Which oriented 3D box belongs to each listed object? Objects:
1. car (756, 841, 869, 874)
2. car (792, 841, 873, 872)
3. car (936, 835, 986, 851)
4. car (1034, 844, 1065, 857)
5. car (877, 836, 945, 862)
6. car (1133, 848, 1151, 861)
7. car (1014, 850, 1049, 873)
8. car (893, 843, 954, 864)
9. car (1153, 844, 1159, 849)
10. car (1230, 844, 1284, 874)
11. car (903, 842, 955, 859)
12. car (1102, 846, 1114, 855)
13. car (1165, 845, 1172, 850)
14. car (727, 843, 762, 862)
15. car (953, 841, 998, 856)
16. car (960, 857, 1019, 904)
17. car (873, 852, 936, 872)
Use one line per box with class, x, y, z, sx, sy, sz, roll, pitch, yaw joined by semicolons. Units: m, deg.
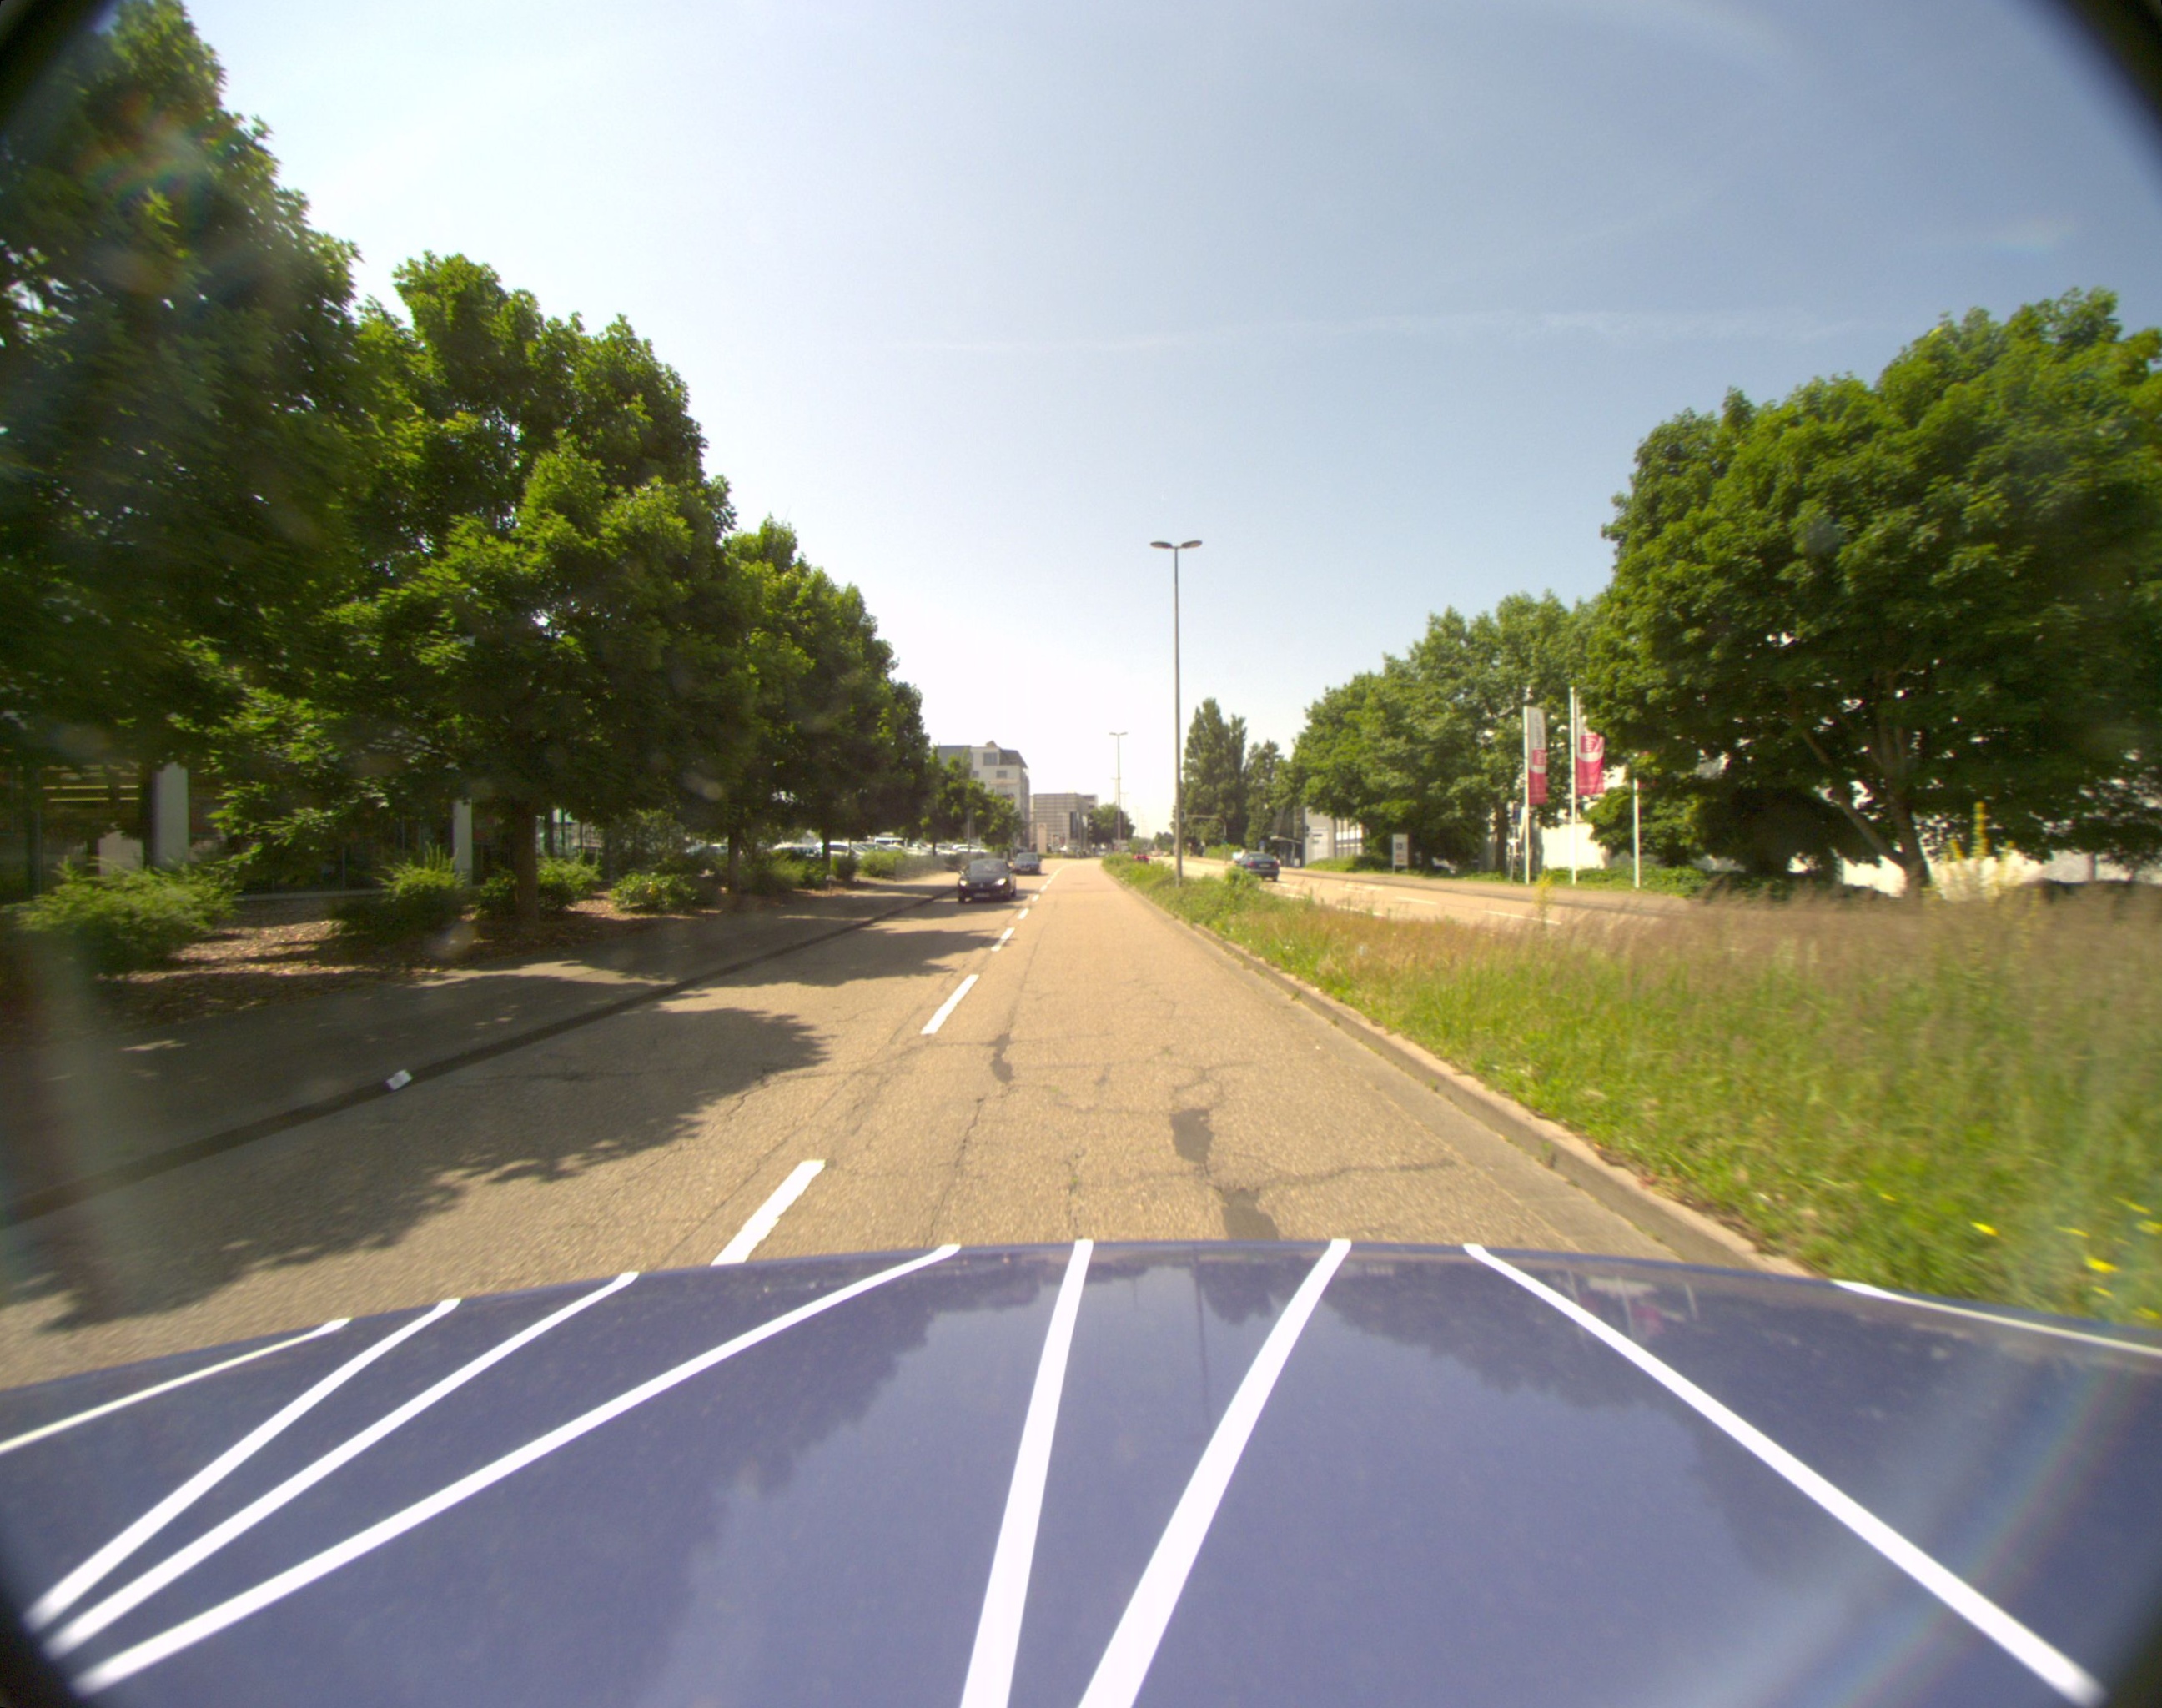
car;-13.549;0.155;38.597;5.004;1.587;2.022;1;1;-1
car;-14.175;0.141;43.500;3.998;1.587;1.826;-2;1;-2
car;-11.016;-0.977;69.921;4.179;1.413;1.698;0;1;4
car;-5.187;-0.579;125.118;4.704;1.787;2.184;-3;0;6
car;-12.723;-0.404;57.057;4.627;1.913;1.827;0;1;2
car;6.648;0.070;83.269;1.733;1.316;4.149;1;1;1
car;-3.079;0.431;47.942;1.711;1.316;3.956;1;1;4
car;-12.332;-0.052;59.701;4.377;1.583;1.827;0;1;2
car;25.261;-2.534;254.880;1.763;1.410;4.092;1;0;2
car;8.892;0.238;38.666;1.726;1.408;4.246;2;0;0
car;-12.796;-0.300;64.214;4.006;1.413;1.698;0;1;1
car;4.281;-0.539;120.466;1.867;1.390;4.000;0;0;2
car;28.765;-2.246;250.235;1.898;1.551;4.287;1;1;3
car;-26.056;-0.163;58.916;1.268;1.412;3.252;1;1;0
car;-11.268;-0.585;81.646;4.587;1.496;1.697;0;1;1
car;-2.989;0.843;25.390;1.641;1.349;3.498;-1;1;-2
car;-12.541;0.587;54.208;3.996;1.381;1.827;0;1;2
